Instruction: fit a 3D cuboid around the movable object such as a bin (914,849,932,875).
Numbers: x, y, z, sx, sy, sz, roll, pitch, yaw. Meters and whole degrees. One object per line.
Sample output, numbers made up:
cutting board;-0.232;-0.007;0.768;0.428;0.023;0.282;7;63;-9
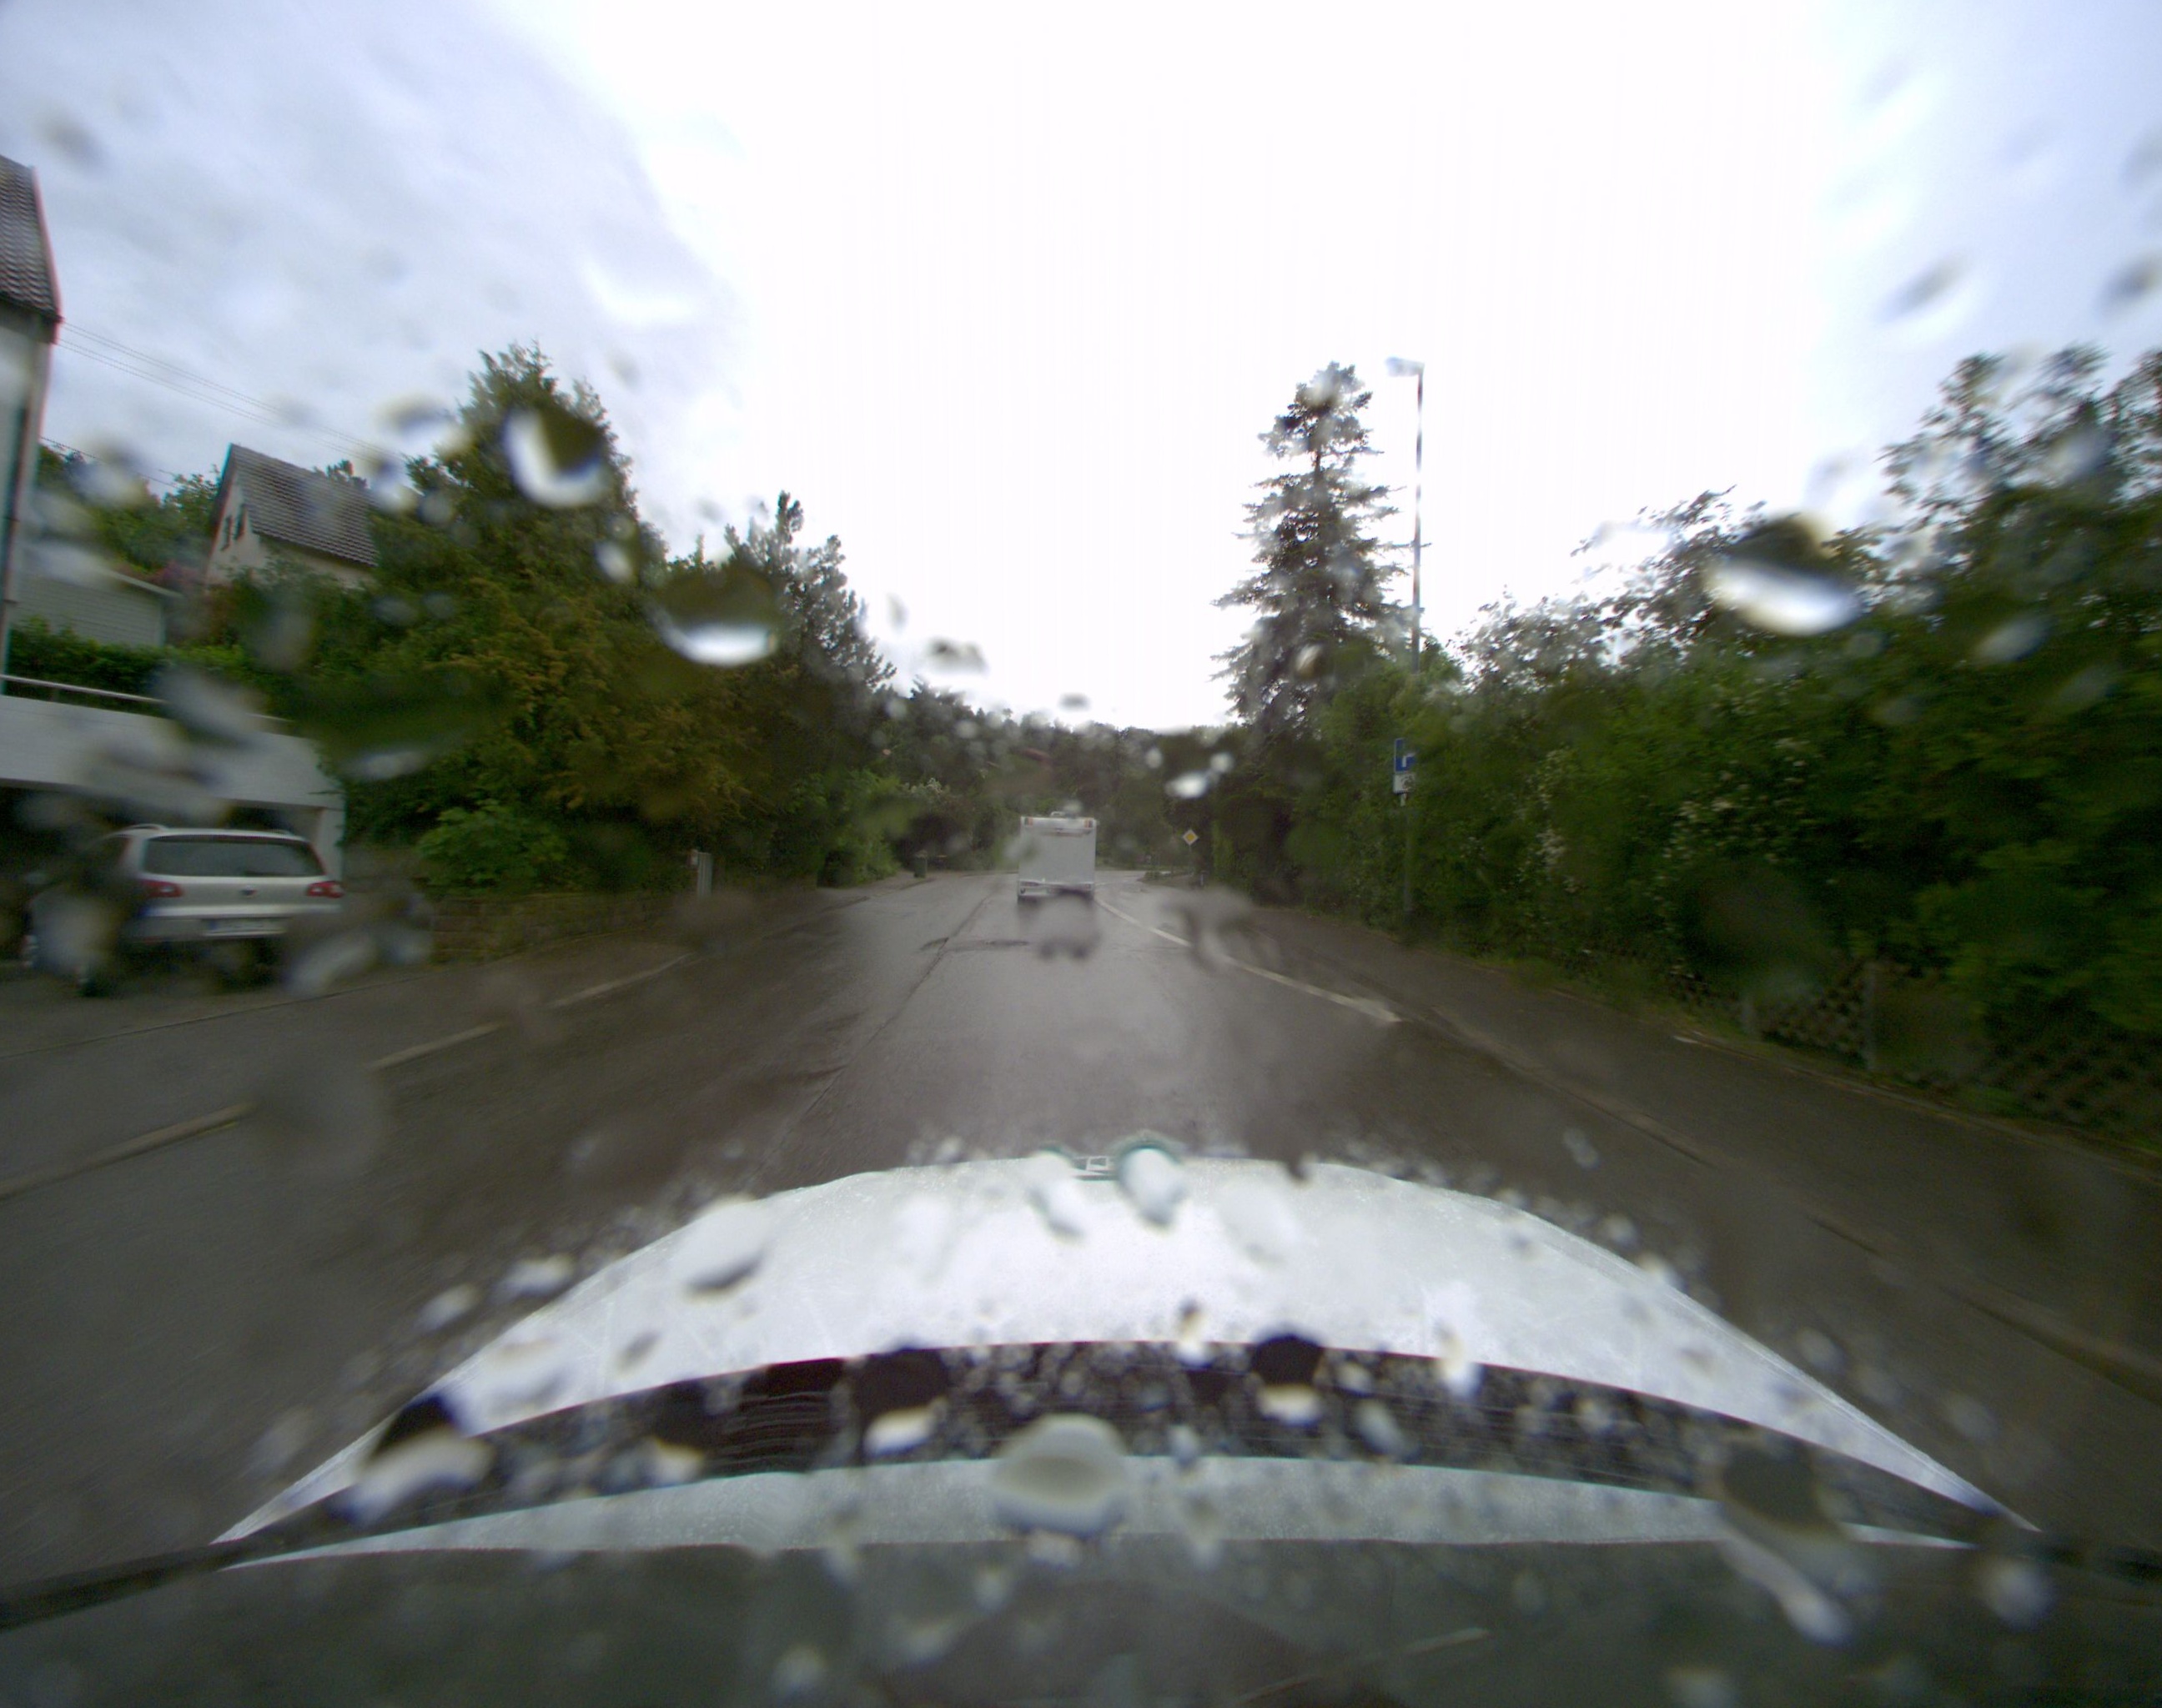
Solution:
movable object such as a bin;-7.649;0.384;39.404;0.740;1.253;0.756;1;0;-6

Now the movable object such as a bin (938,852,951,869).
movable object such as a bin;-8.521;0.418;50.898;0.753;1.022;0.742;1;0;-4

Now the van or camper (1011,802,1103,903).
van or camper;-0.743;0.039;26.435;2.608;2.853;6.027;1;-2;-1

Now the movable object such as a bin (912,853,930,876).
movable object such as a bin;-7.530;0.498;38.428;0.740;1.094;0.756;1;0;-6

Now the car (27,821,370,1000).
car;-9.847;0.596;9.045;3.894;1.585;1.875;-3;-2;32
